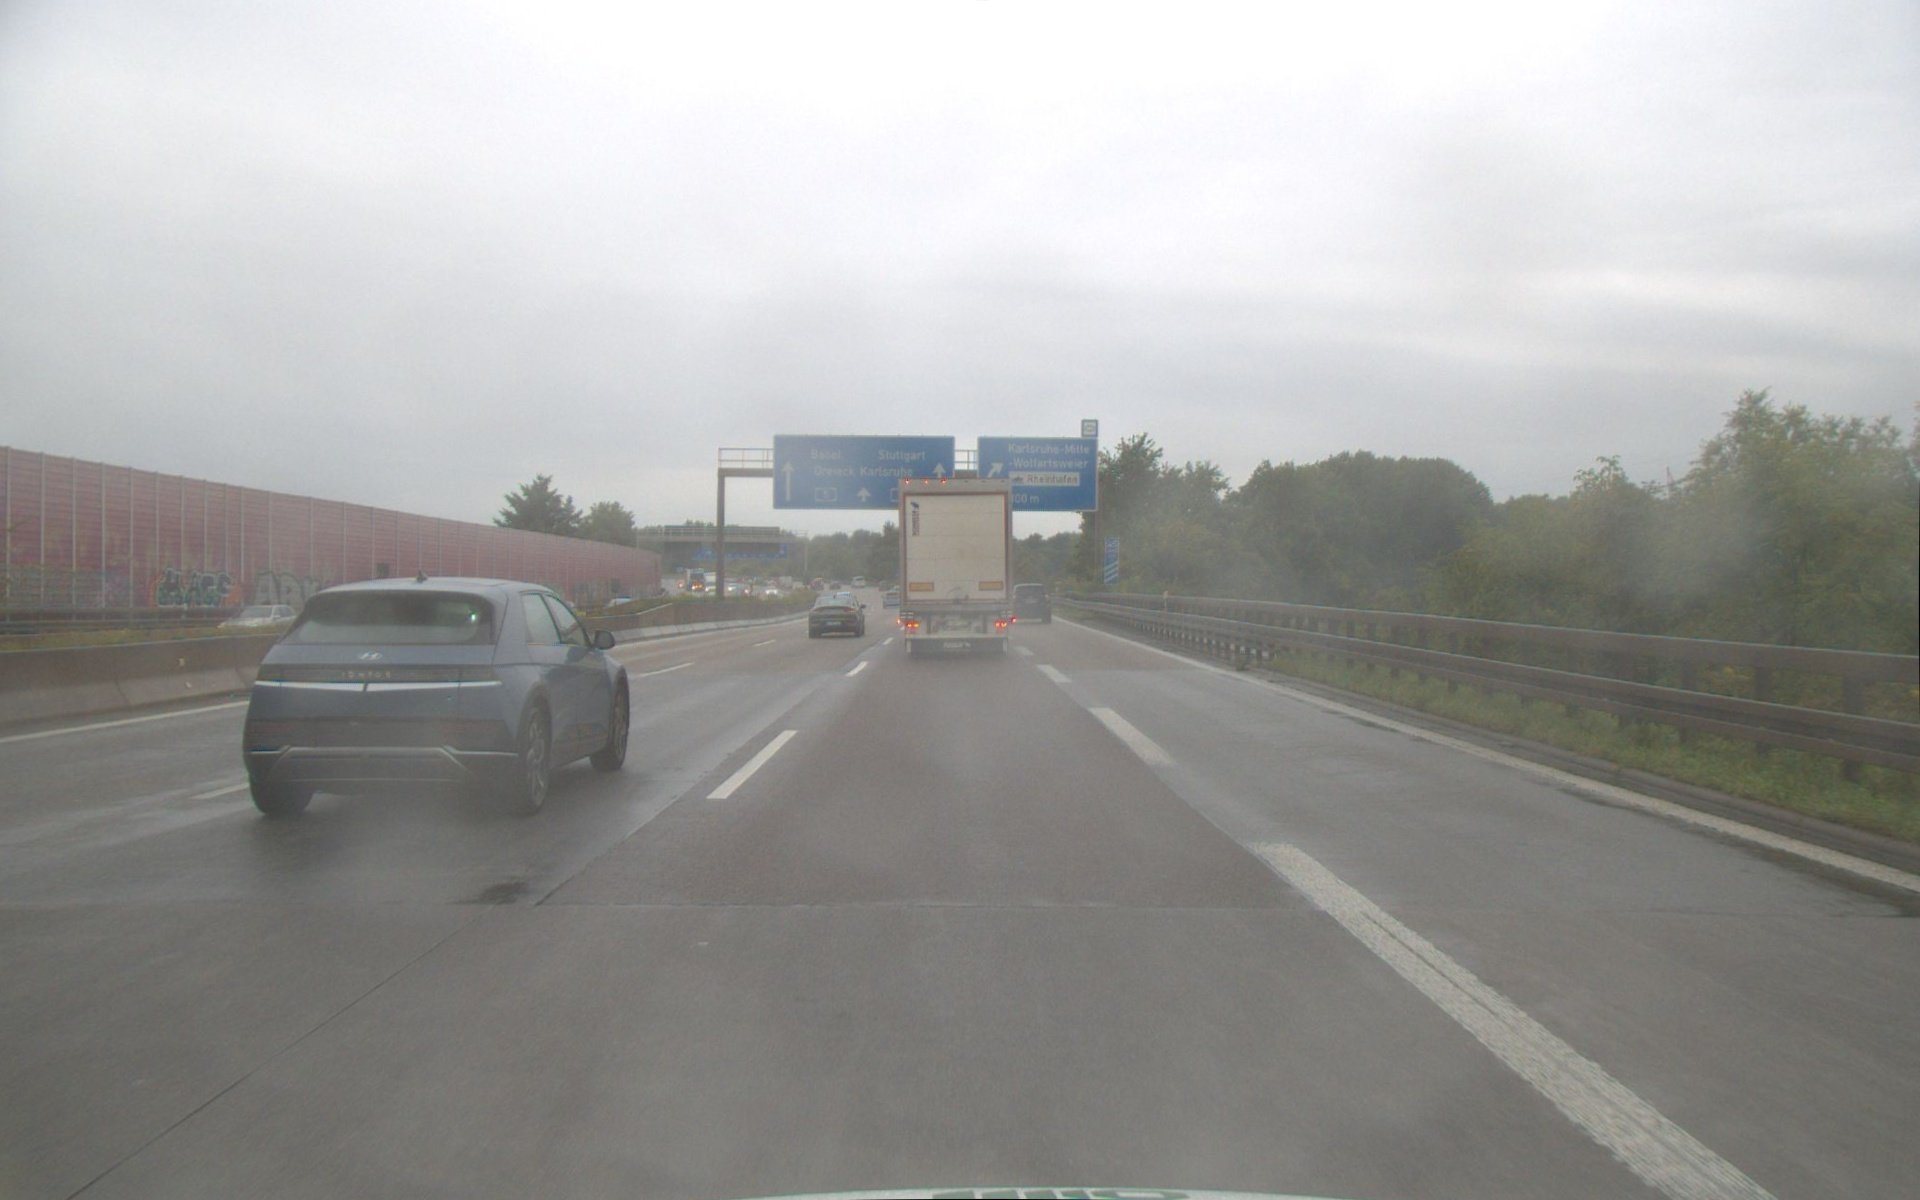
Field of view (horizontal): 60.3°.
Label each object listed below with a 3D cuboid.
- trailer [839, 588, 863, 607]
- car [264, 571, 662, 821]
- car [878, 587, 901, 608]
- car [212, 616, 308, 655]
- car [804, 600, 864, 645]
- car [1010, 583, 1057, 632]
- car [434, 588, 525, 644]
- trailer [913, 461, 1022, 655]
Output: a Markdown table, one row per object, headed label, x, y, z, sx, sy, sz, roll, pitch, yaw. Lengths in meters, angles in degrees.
| label | x | y | z | sx | sy | sz | roll | pitch | yaw |
| --- | --- | --- | --- | --- | --- | --- | --- | --- | --- |
| trailer | -9.667 | -0.254 | 147.349 | 1.778 | 1.653 | 4.568 | 2 | 0 | 0 |
| car | -3.708 | 0.638 | 13.392 | 1.801 | 1.622 | 5.154 | 0 | 0 | -2 |
| car | -6.125 | -0.217 | 144.233 | 1.855 | 1.754 | 4.000 | 1 | 0 | 0 |
| car | -26.081 | 1.289 | 61.754 | 1.821 | 1.317 | 4.277 | 0 | 0 | -1 |
| car | -4.337 | 0.765 | 57.377 | 1.690 | 1.427 | 4.828 | 2 | 0 | 0 |
| car | 3.167 | 0.316 | 71.676 | 1.858 | 1.983 | 4.001 | 3 | 0 | 1 |
| car | -19.178 | 0.596 | 66.276 | 1.953 | 2.049 | 5.805 | 3 | 0 | -1 |
| trailer | 0.167 | -1.050 | 43.906 | 2.294 | 4.229 | 14.827 | 1 | 1 | 0 |
